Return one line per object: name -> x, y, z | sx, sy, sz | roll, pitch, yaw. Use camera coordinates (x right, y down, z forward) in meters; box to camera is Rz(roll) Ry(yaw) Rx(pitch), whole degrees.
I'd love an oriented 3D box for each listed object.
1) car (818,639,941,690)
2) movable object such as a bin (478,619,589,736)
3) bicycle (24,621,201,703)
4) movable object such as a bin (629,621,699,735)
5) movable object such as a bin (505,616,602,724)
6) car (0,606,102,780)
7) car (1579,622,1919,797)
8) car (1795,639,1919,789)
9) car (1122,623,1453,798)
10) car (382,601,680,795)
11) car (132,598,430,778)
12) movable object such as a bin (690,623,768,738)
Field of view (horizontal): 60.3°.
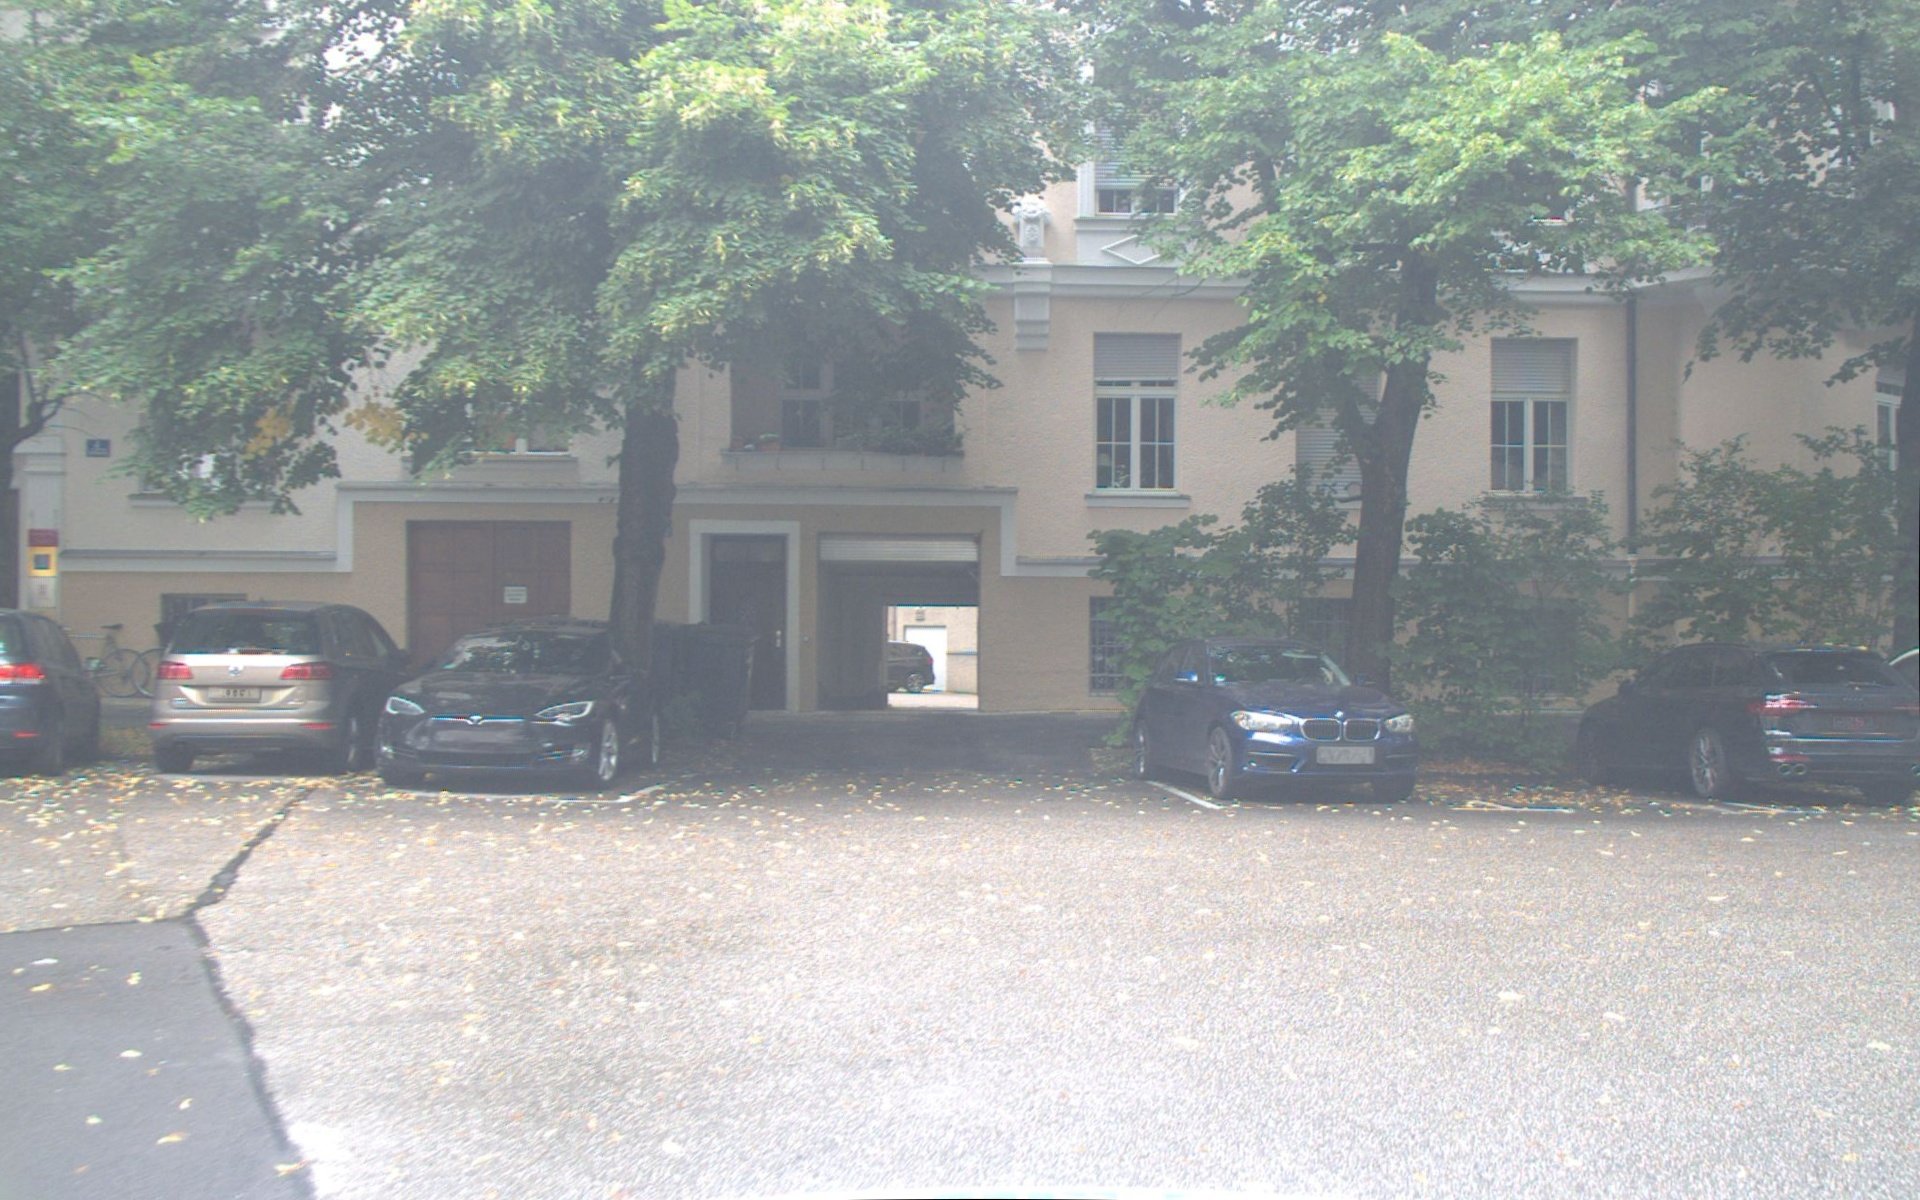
car -> -2.607, 2.065, 52.882 | 3.773, 1.545, 1.653 | 1, -1, -9
movable object such as a bin -> -5.272, 0.942, 20.522 | 1.127, 1.372, 1.155 | 1, 0, -6
bicycle -> -12.122, 0.881, 23.694 | 2.184, 1.135, 0.576 | 1, -1, -3
movable object such as a bin -> -3.729, 0.963, 20.909 | 0.698, 1.371, 1.372 | 1, -1, -4
movable object such as a bin -> -5.346, 0.912, 21.791 | 1.096, 1.372, 0.863 | 1, 0, -6
car -> -9.185, 0.779, 15.500 | 1.768, 1.456, 3.969 | 1, -1, -24
car -> 7.606, 1.021, 15.822 | 1.819, 1.451, 4.162 | 0, -3, 0
car -> 10.170, 1.133, 16.387 | 1.790, 1.451, 3.747 | 0, -4, -2
car -> 2.888, 0.960, 15.622 | 1.804, 1.407, 4.335 | 0, -2, -7
car -> -3.792, 0.886, 15.374 | 1.669, 1.493, 4.286 | 2, -3, -1
car -> -6.534, 0.792, 16.391 | 1.804, 1.557, 4.016 | 1, -1, -9
movable object such as a bin -> -2.848, 0.978, 20.520 | 0.846, 1.328, 1.430 | 2, -1, -5
